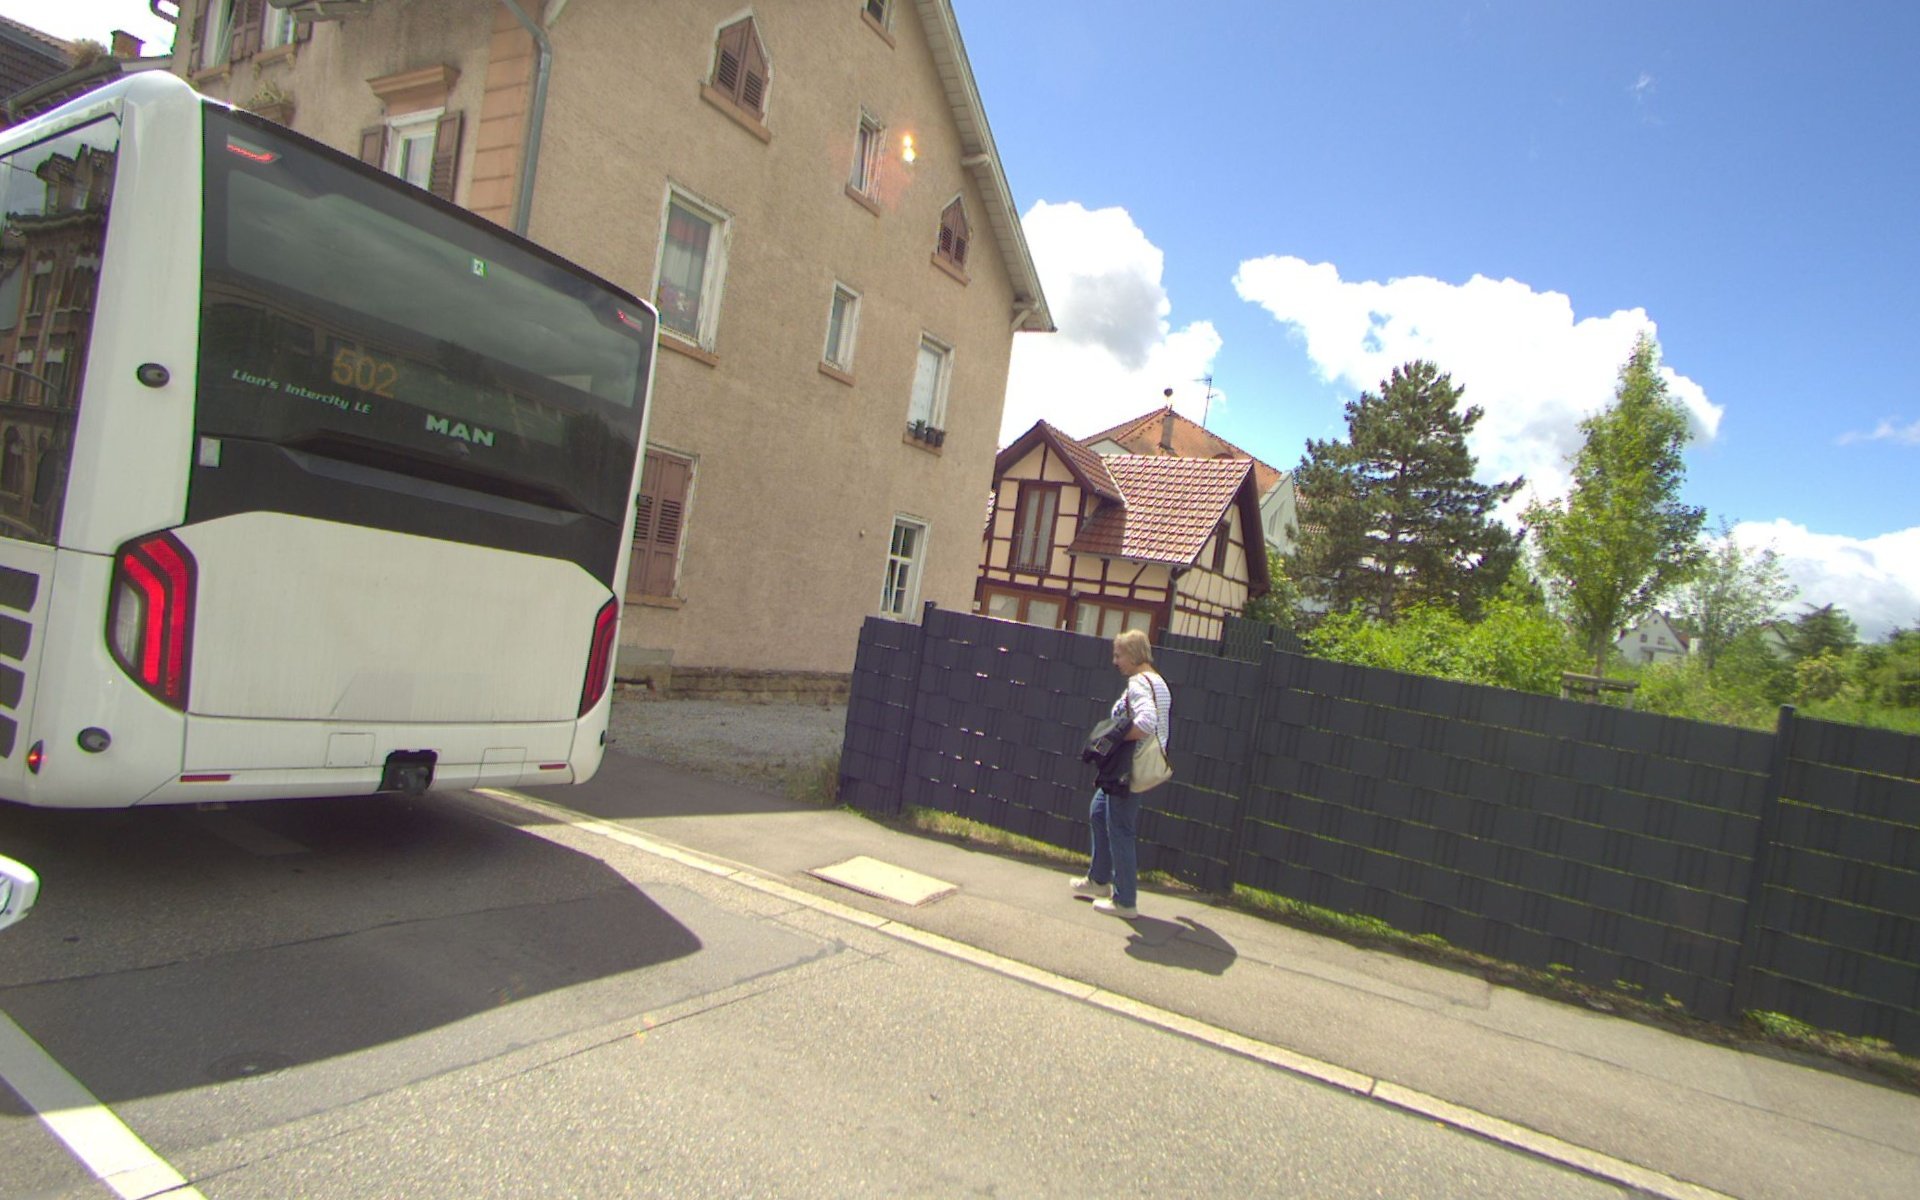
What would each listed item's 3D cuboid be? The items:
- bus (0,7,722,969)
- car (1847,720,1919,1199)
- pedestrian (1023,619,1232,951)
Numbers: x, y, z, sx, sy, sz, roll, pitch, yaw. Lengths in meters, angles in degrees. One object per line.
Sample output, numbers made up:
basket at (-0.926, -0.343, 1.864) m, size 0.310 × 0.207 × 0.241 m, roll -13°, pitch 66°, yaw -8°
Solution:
bus at (-7.381, -0.852, 7.695) m, size 12.255 × 3.192 × 2.678 m, roll 7°, pitch -2°, yaw 32°
car at (3.709, 1.246, 0.464) m, size 4.605 × 1.631 × 1.924 m, roll 7°, pitch -2°, yaw 32°
pedestrian at (0.937, 0.949, 5.516) m, size 0.700 × 1.581 × 0.860 m, roll 7°, pitch 1°, yaw 31°
